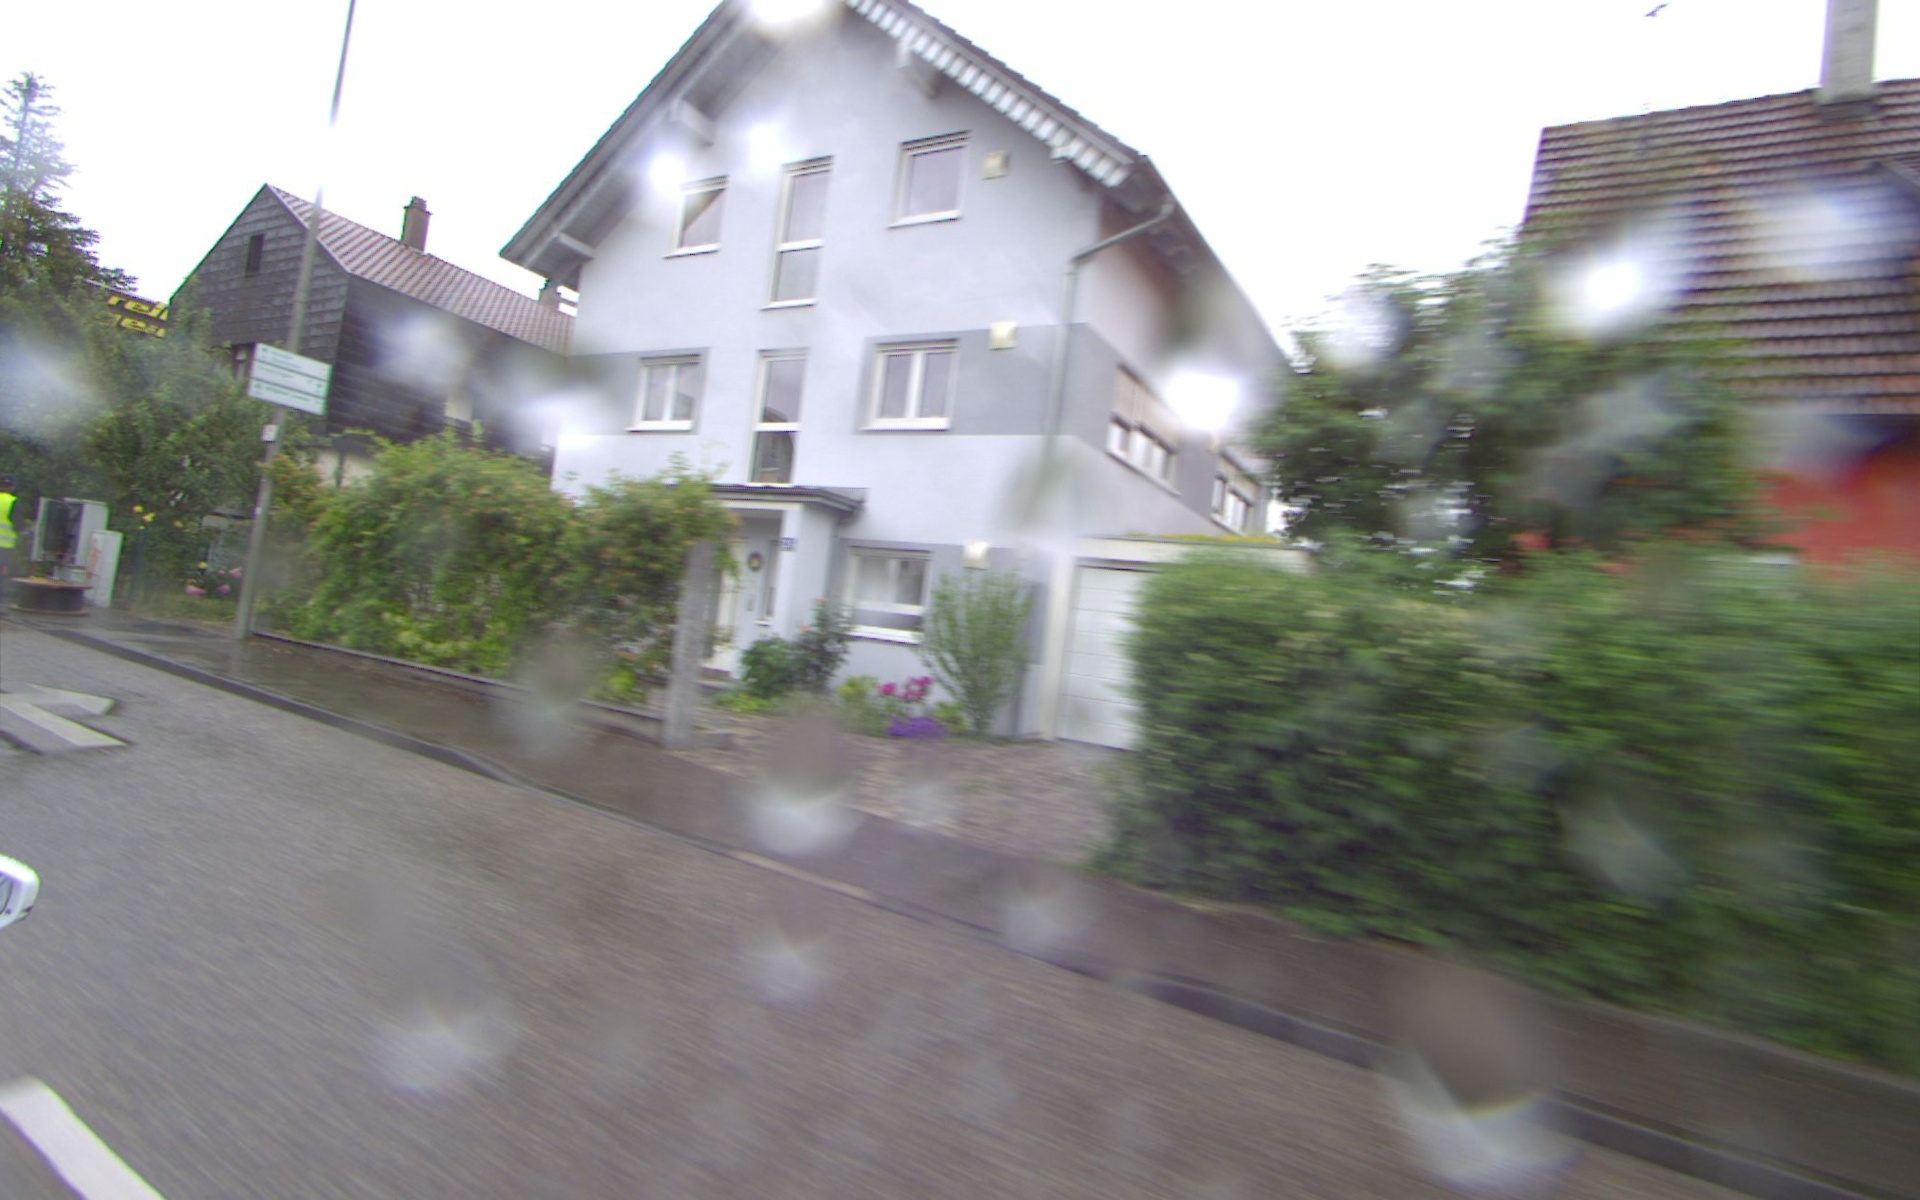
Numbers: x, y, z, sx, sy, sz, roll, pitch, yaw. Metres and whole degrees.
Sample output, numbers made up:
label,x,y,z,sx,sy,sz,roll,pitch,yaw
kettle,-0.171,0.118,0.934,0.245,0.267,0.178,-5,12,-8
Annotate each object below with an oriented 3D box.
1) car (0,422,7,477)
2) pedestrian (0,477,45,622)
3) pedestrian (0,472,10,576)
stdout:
label,x,y,z,sx,sy,sz,roll,pitch,yaw
car,-16.686,-1.664,14.605,6.325,2.461,2.395,7,-1,31
pedestrian,-11.583,-0.640,11.961,0.926,1.685,0.577,7,1,20
pedestrian,-12.479,-0.795,12.386,0.875,1.729,0.711,7,1,20
